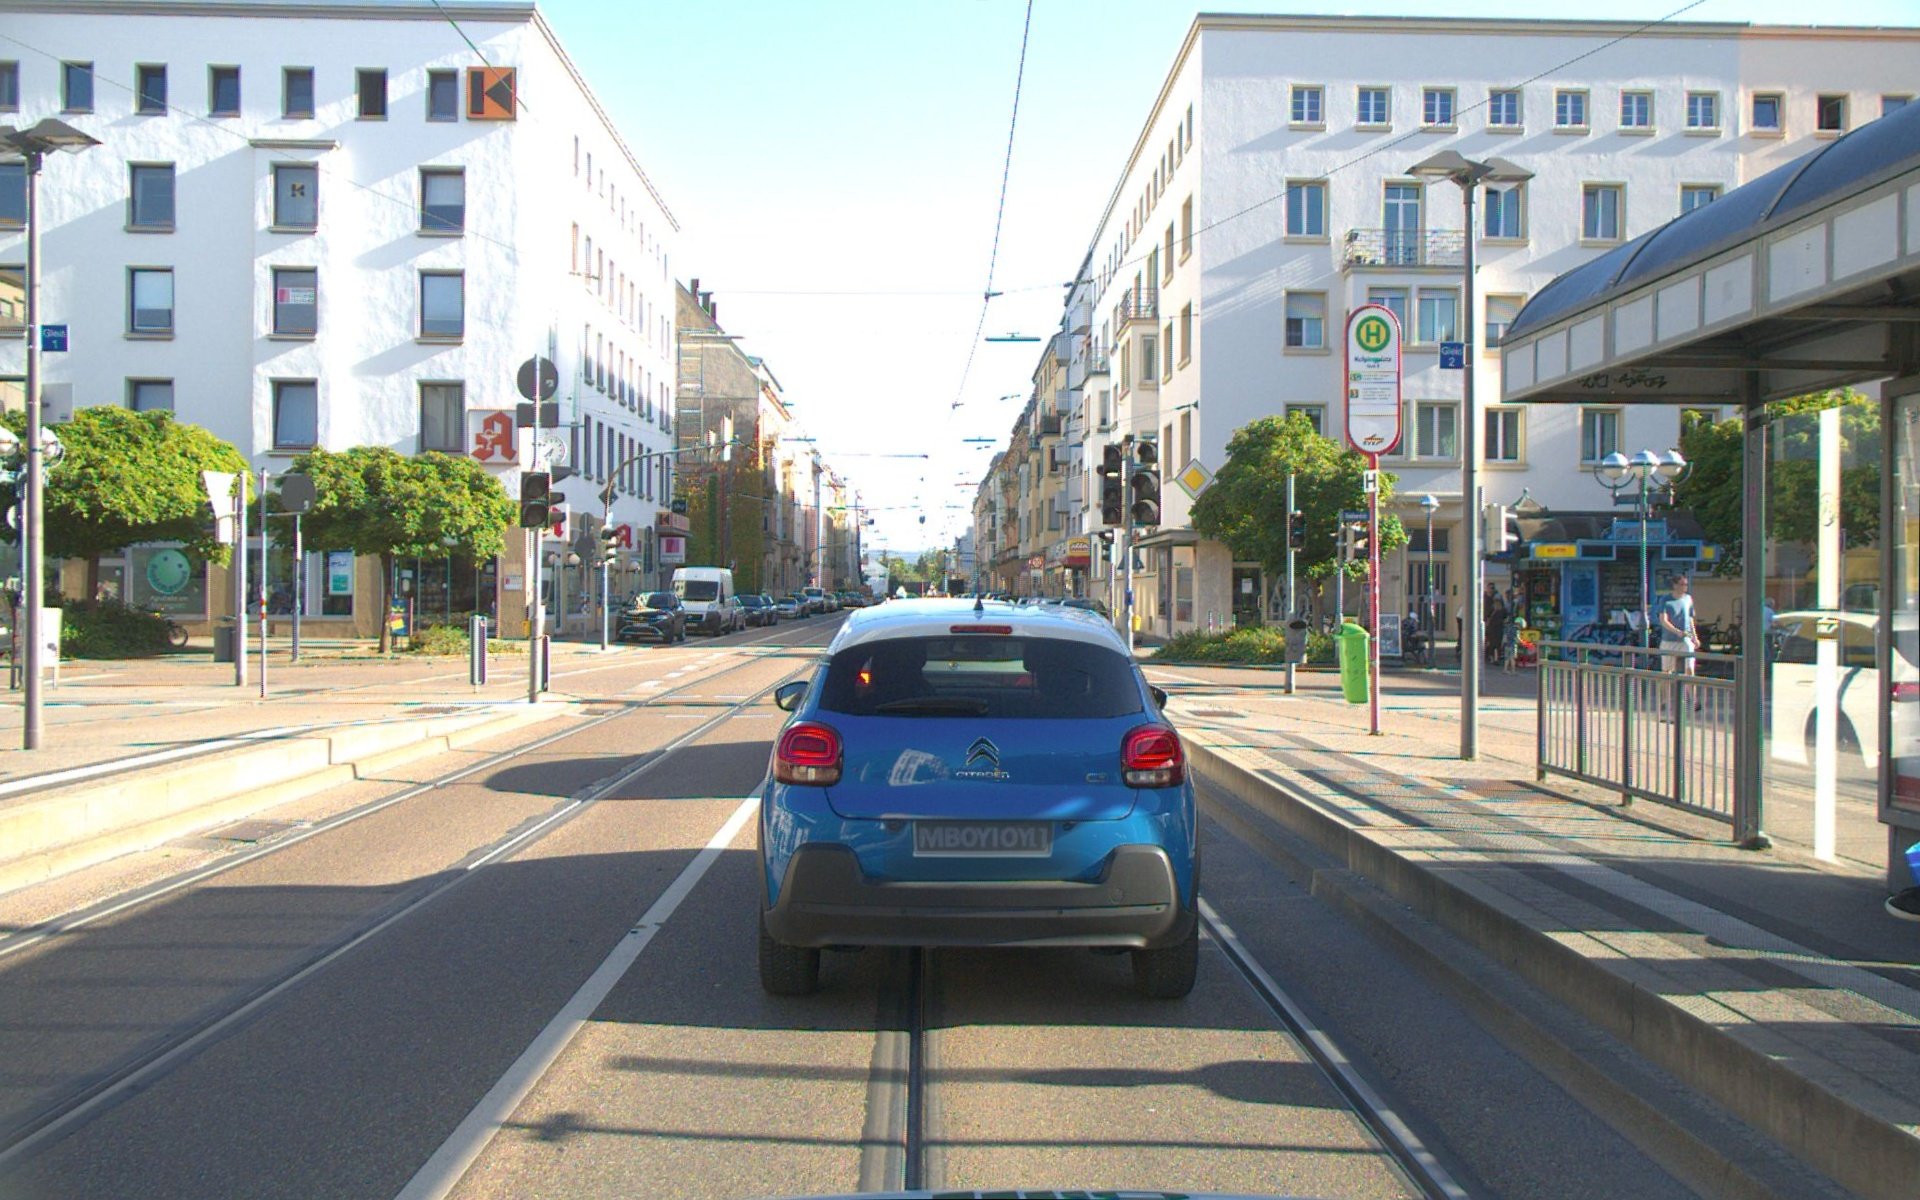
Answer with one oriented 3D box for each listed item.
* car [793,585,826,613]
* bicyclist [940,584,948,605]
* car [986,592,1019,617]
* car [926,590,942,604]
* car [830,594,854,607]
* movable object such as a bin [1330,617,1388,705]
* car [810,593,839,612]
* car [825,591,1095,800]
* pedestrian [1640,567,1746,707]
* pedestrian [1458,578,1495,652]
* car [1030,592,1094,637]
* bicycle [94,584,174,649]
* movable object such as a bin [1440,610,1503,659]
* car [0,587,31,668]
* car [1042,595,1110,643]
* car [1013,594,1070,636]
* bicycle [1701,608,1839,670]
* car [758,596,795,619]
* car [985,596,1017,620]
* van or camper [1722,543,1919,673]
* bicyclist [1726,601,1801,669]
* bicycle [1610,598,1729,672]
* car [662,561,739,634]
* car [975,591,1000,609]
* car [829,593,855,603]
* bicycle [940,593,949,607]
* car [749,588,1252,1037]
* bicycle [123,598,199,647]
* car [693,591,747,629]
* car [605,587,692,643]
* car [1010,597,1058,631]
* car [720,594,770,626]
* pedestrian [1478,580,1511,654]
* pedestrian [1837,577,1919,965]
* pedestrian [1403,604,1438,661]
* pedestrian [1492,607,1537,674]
[{"bbox_3d":[-11.493,-0.048,126.590,1.965,2.049,4.690,1,0,1],"label":"car"},{"bbox_3d":[-1.650,-0.572,169.100,0.793,2.049,0.922,1,-1,-2],"label":"bicyclist"},{"bbox_3d":[2.603,0.254,102.079,1.953,1.489,4.504,0,0,0],"label":"car"},{"bbox_3d":[-3.318,-0.359,211.705,1.953,1.803,3.999,0,0,-1],"label":"car"},{"bbox_3d":[-10.942,0.021,153.795,1.953,1.176,4.000,0,0,0],"label":"car"},{"bbox_3d":[3.739,0.567,15.531,0.439,0.800,0.489,0,0,2],"label":"movable object such as a bin"},{"bbox_3d":[-11.192,0.223,136.876,1.914,1.579,3.939,1,0,1],"label":"car"},{"bbox_3d":[-0.040,0.692,14.459,1.944,1.490,4.814,1,0,-1],"label":"car"},{"bbox_3d":[10.307,0.519,23.302,0.961,1.910,1.128,0,-1,-3],"label":"pedestrian"},{"bbox_3d":[13.312,0.380,42.647,0.768,1.871,0.678,0,0,2],"label":"pedestrian"},{"bbox_3d":[3.508,0.488,57.374,1.953,1.489,4.000,0,0,0],"label":"car"},{"bbox_3d":[-21.334,0.407,42.782,0.605,1.635,2.621,0,0,3],"label":"bicycle"},{"bbox_3d":[12.494,0.835,40.424,1.174,1.173,1.217,0,0,0],"label":"movable object such as a bin"},{"bbox_3d":[-22.386,0.574,35.421,3.906,1.736,1.825,0,0,-2],"label":"car"},{"bbox_3d":[3.654,0.577,52.539,1.870,1.489,4.000,0,0,0],"label":"car"},{"bbox_3d":[3.078,0.545,62.966,1.953,1.527,4.000,0,0,0],"label":"car"},{"bbox_3d":[15.380,0.740,31.431,2.269,1.080,0.720,2,0,-4],"label":"bicycle"},{"bbox_3d":[-11.416,0.463,103.011,1.953,1.348,3.921,1,0,-2],"label":"car"},{"bbox_3d":[2.639,0.521,106.266,1.953,1.489,4.000,0,0,0],"label":"car"},{"bbox_3d":[20.983,0.137,36.785,6.976,2.795,2.371,0,1,0],"label":"van or camper"},{"bbox_3d":[15.245,0.656,31.410,0.912,1.247,0.953,2,0,-3],"label":"bicyclist"},{"bbox_3d":[15.892,0.769,37.085,2.336,1.558,0.726,2,0,-2],"label":"bicycle"},{"bbox_3d":[-9.732,-0.110,62.505,2.043,2.586,6.203,1,0,-2],"label":"car"},{"bbox_3d":[2.179,0.003,133.281,1.953,1.489,4.000,0,0,0],"label":"car"},{"bbox_3d":[-13.196,-0.233,184.621,1.951,1.176,4.518,0,0,8],"label":"car"},{"bbox_3d":[-1.635,0.009,169.327,0.901,1.413,3.131,0,0,-1],"label":"bicycle"},{"bbox_3d":[0.110,0.724,7.570,1.693,1.508,3.826,1,0,-1],"label":"car"},{"bbox_3d":[-20.624,0.566,42.769,0.605,1.211,2.621,0,0,2],"label":"bicycle"},{"bbox_3d":[-10.035,0.435,69.326,1.850,1.522,3.560,1,0,-2],"label":"car"},{"bbox_3d":[-9.789,0.472,52.253,1.953,1.596,4.401,3,0,-2],"label":"car"},{"bbox_3d":[3.236,0.596,73.202,1.953,1.489,4.000,0,0,0],"label":"car"},{"bbox_3d":[-10.104,0.483,77.975,1.953,1.422,4.155,1,0,-2],"label":"car"},{"bbox_3d":[13.477,0.424,41.729,0.639,1.871,0.659,0,0,2],"label":"pedestrian"},{"bbox_3d":[3.595,0.574,5.343,0.978,1.246,0.923,3,-1,-1],"label":"pedestrian"},{"bbox_3d":[10.906,0.766,39.182,0.725,1.339,0.628,0,0,22],"label":"pedestrian"},{"bbox_3d":[12.270,0.891,36.633,0.715,1.434,0.755,0,3,-1],"label":"pedestrian"}]
